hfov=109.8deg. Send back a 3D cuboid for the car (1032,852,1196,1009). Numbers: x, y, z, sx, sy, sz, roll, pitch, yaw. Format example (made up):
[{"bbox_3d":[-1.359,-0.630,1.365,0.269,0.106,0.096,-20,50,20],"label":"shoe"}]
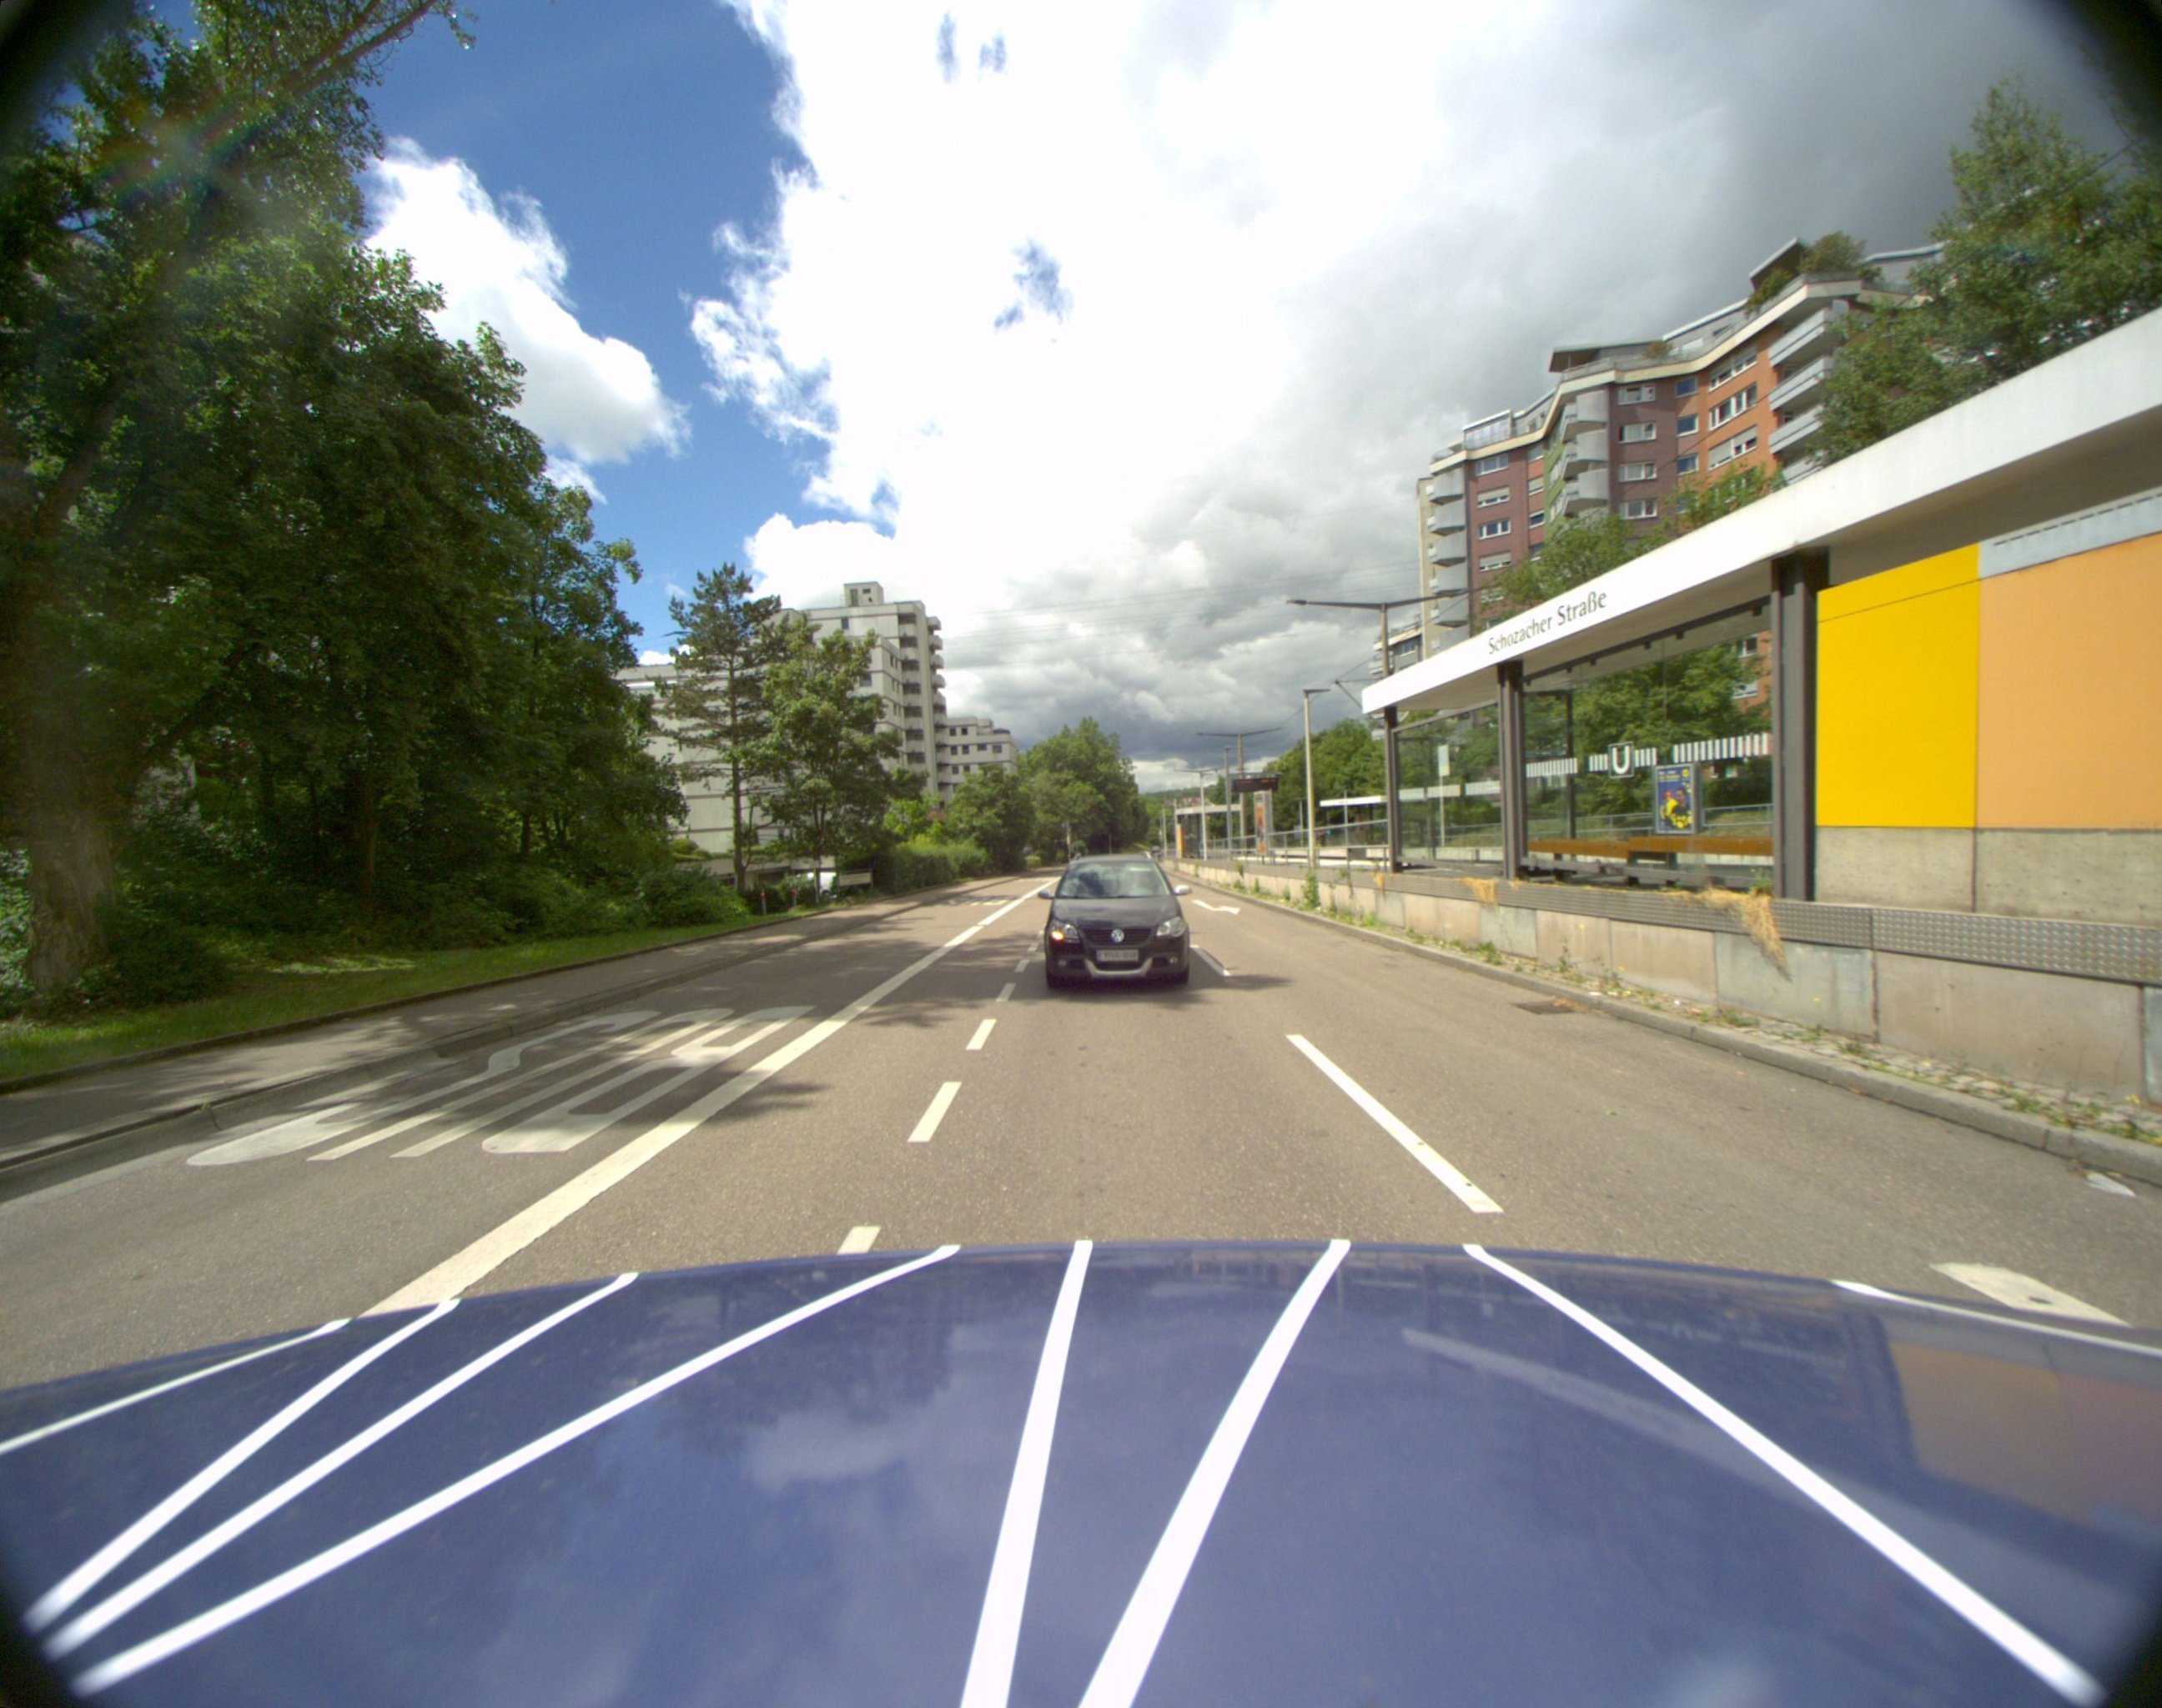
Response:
[{"bbox_3d":[0.434,0.792,9.852,1.641,1.521,4.000,-2,1,3],"label":"car"}]

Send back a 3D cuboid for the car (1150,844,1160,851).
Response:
[{"bbox_3d":[15.734,-1.426,161.159,1.821,1.377,4.065,-2,1,2],"label":"car"}]

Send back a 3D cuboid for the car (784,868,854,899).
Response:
[{"bbox_3d":[-19.890,2.230,57.806,4.543,2.002,2.001,-2,1,7],"label":"car"}]

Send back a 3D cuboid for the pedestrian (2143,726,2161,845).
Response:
[{"bbox_3d":[15.824,-0.999,11.032,0.354,1.703,0.426,-3,2,-41],"label":"pedestrian"}]

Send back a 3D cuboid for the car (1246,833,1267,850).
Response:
[{"bbox_3d":[22.155,-1.601,96.150,1.737,2.002,4.000,-2,1,2],"label":"car"}]
